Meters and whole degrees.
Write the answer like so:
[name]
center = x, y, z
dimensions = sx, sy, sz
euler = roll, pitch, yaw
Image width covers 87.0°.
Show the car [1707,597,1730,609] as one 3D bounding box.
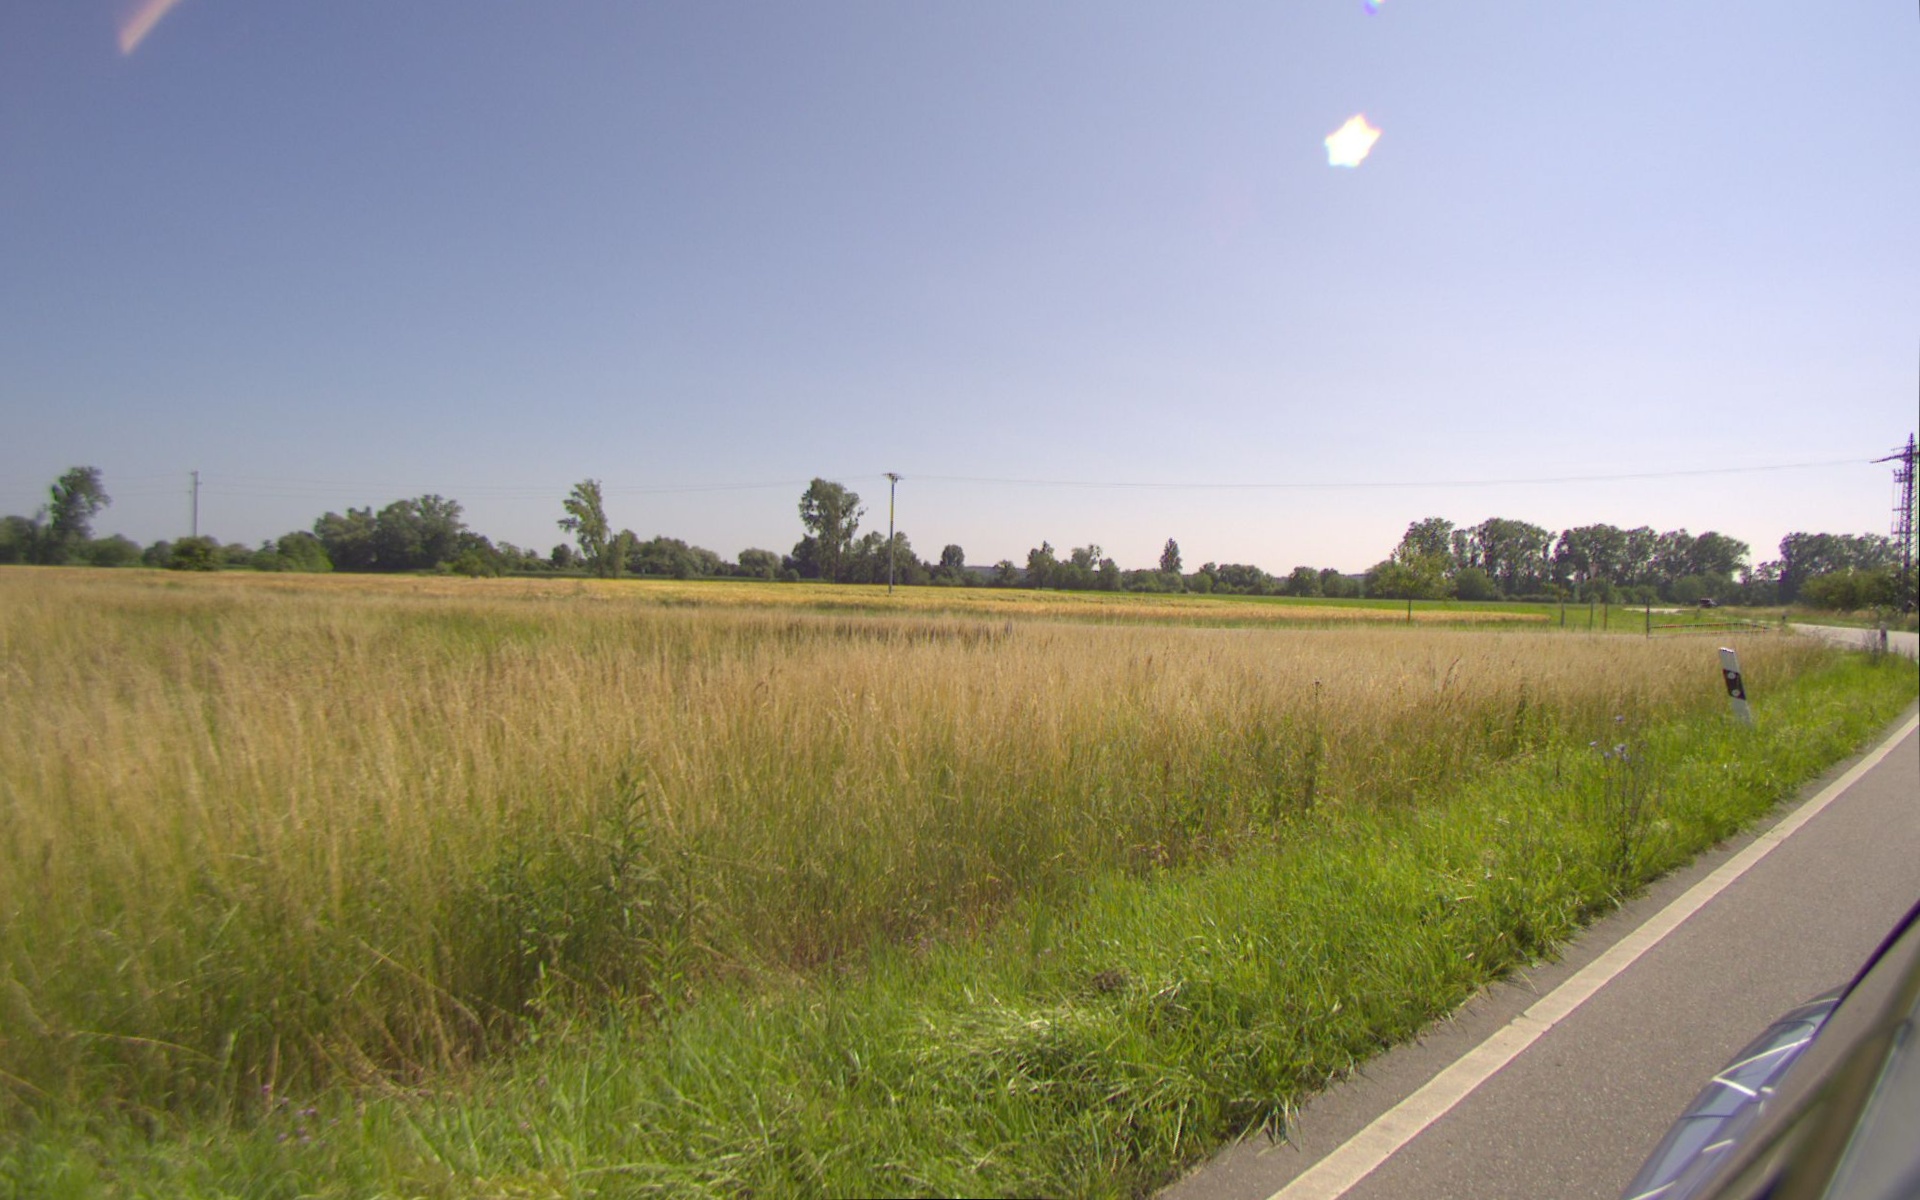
[car]
center = 117.570, 0.518, 156.795
dimensions = 4.220, 1.774, 1.870
euler = 1, 2, -40
